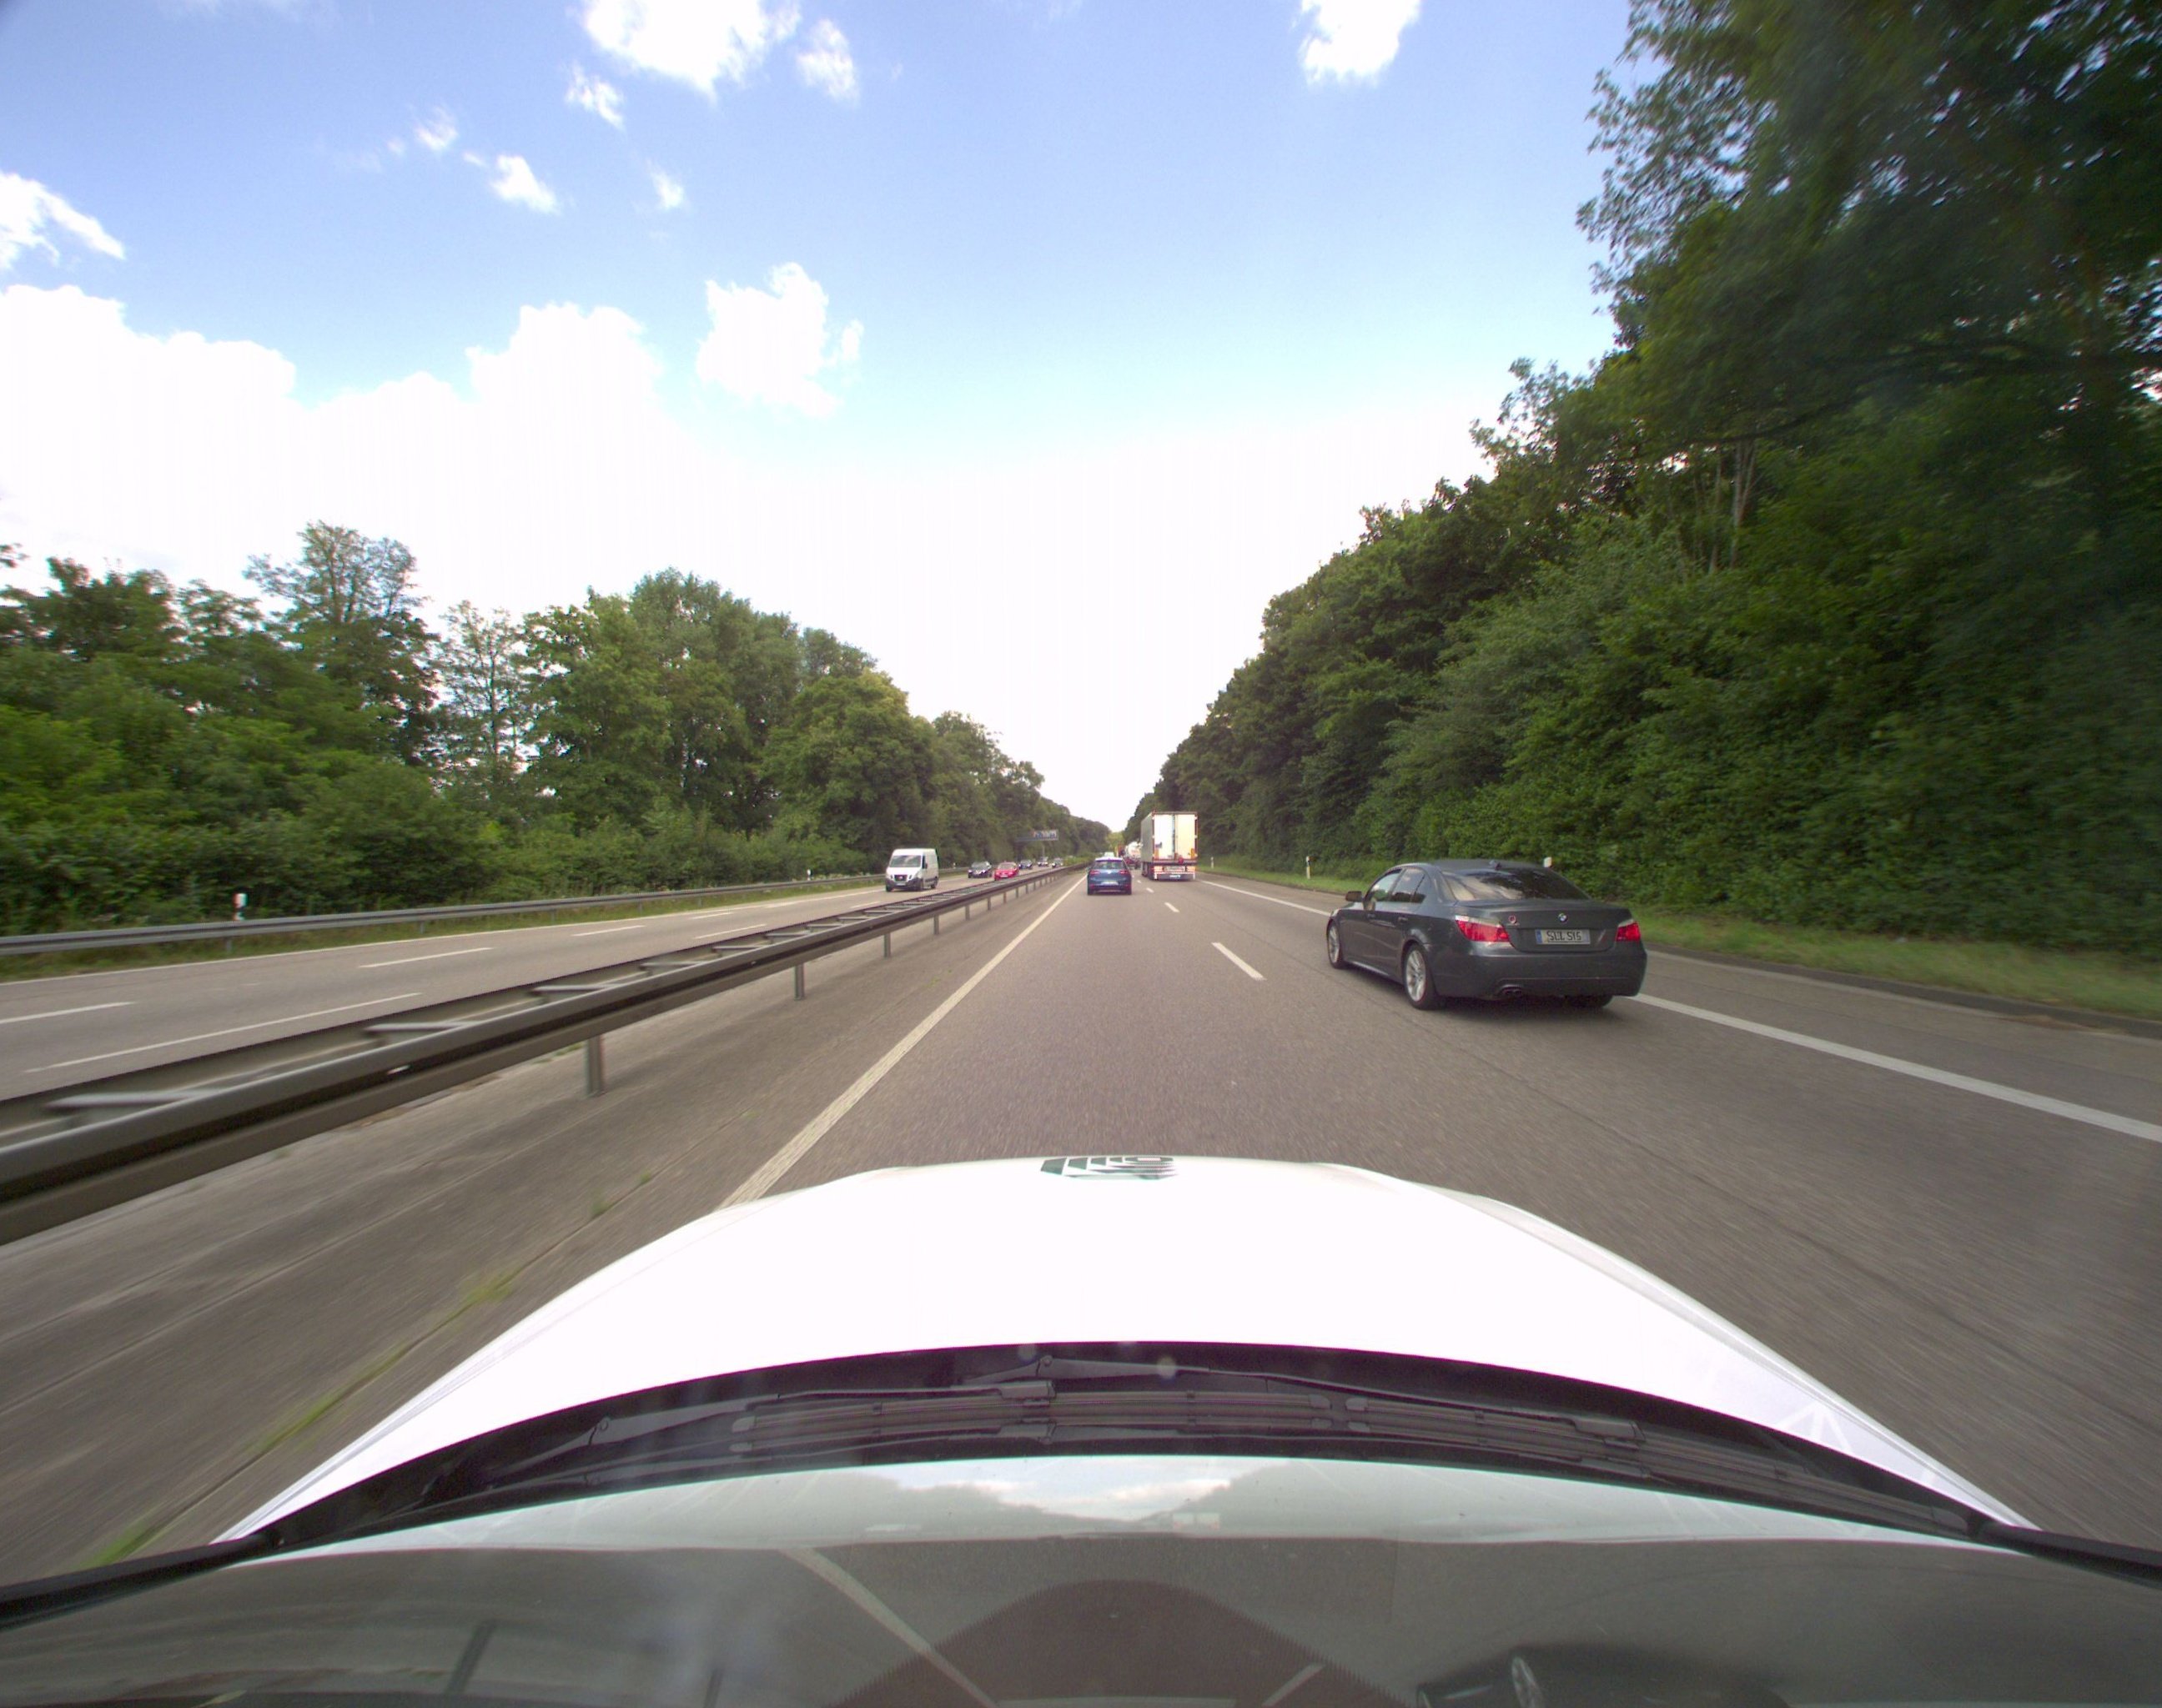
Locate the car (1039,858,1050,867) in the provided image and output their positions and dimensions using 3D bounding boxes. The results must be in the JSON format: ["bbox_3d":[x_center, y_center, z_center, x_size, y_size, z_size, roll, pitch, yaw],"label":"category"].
[{"bbox_3d":[-6.710,1.549,150.042,1.753,1.593,4.635,-1,0,1],"label":"car"}]

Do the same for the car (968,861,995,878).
[{"bbox_3d":[-9.348,1.423,76.597,1.778,1.478,4.573,-1,0,3],"label":"car"}]

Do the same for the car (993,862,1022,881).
[{"bbox_3d":[-5.766,1.353,63.944,1.671,1.454,4.130,-1,0,3],"label":"car"}]

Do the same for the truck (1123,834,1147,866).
[{"bbox_3d":[7.927,-0.533,119.004,3.218,4.386,12.982,-1,-1,4],"label":"truck"}]

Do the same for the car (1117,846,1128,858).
[{"bbox_3d":[9.001,-0.415,176.675,1.987,2.327,4.441,-2,0,-1],"label":"car"}]

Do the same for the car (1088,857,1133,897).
[{"bbox_3d":[1.176,0.876,32.815,1.699,1.470,4.001,-1,0,1],"label":"car"}]

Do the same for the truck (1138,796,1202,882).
[{"bbox_3d":[5.364,-0.855,51.293,3.228,4.716,11.015,-2,0,3],"label":"truck"}]

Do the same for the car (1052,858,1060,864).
[{"bbox_3d":[-6.125,1.605,200.391,1.531,1.396,3.512,-2,0,1],"label":"car"}]

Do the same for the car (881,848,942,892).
[{"bbox_3d":[-9.854,0.874,47.882,2.102,2.423,5.834,-1,0,3],"label":"car"}]

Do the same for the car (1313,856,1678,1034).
[{"bbox_3d":[4.143,0.764,9.227,1.768,1.475,4.882,-1,0,2],"label":"car"}]

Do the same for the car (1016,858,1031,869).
[{"bbox_3d":[-8.476,1.436,119.745,1.673,1.519,4.860,-2,0,1],"label":"car"}]

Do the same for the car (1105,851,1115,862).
[{"bbox_3d":[6.110,0.550,171.605,1.987,2.255,4.440,-2,0,-1],"label":"car"}]

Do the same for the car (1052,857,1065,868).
[{"bbox_3d":[-3.451,1.276,124.912,1.774,1.519,4.267,-2,0,1],"label":"car"}]

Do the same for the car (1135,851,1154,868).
[{"bbox_3d":[7.044,0.582,90.636,1.881,1.729,4.002,-2,0,2],"label":"car"}]

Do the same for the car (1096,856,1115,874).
[{"bbox_3d":[2.186,0.926,72.273,1.659,1.500,4.154,-1,0,2],"label":"car"}]
